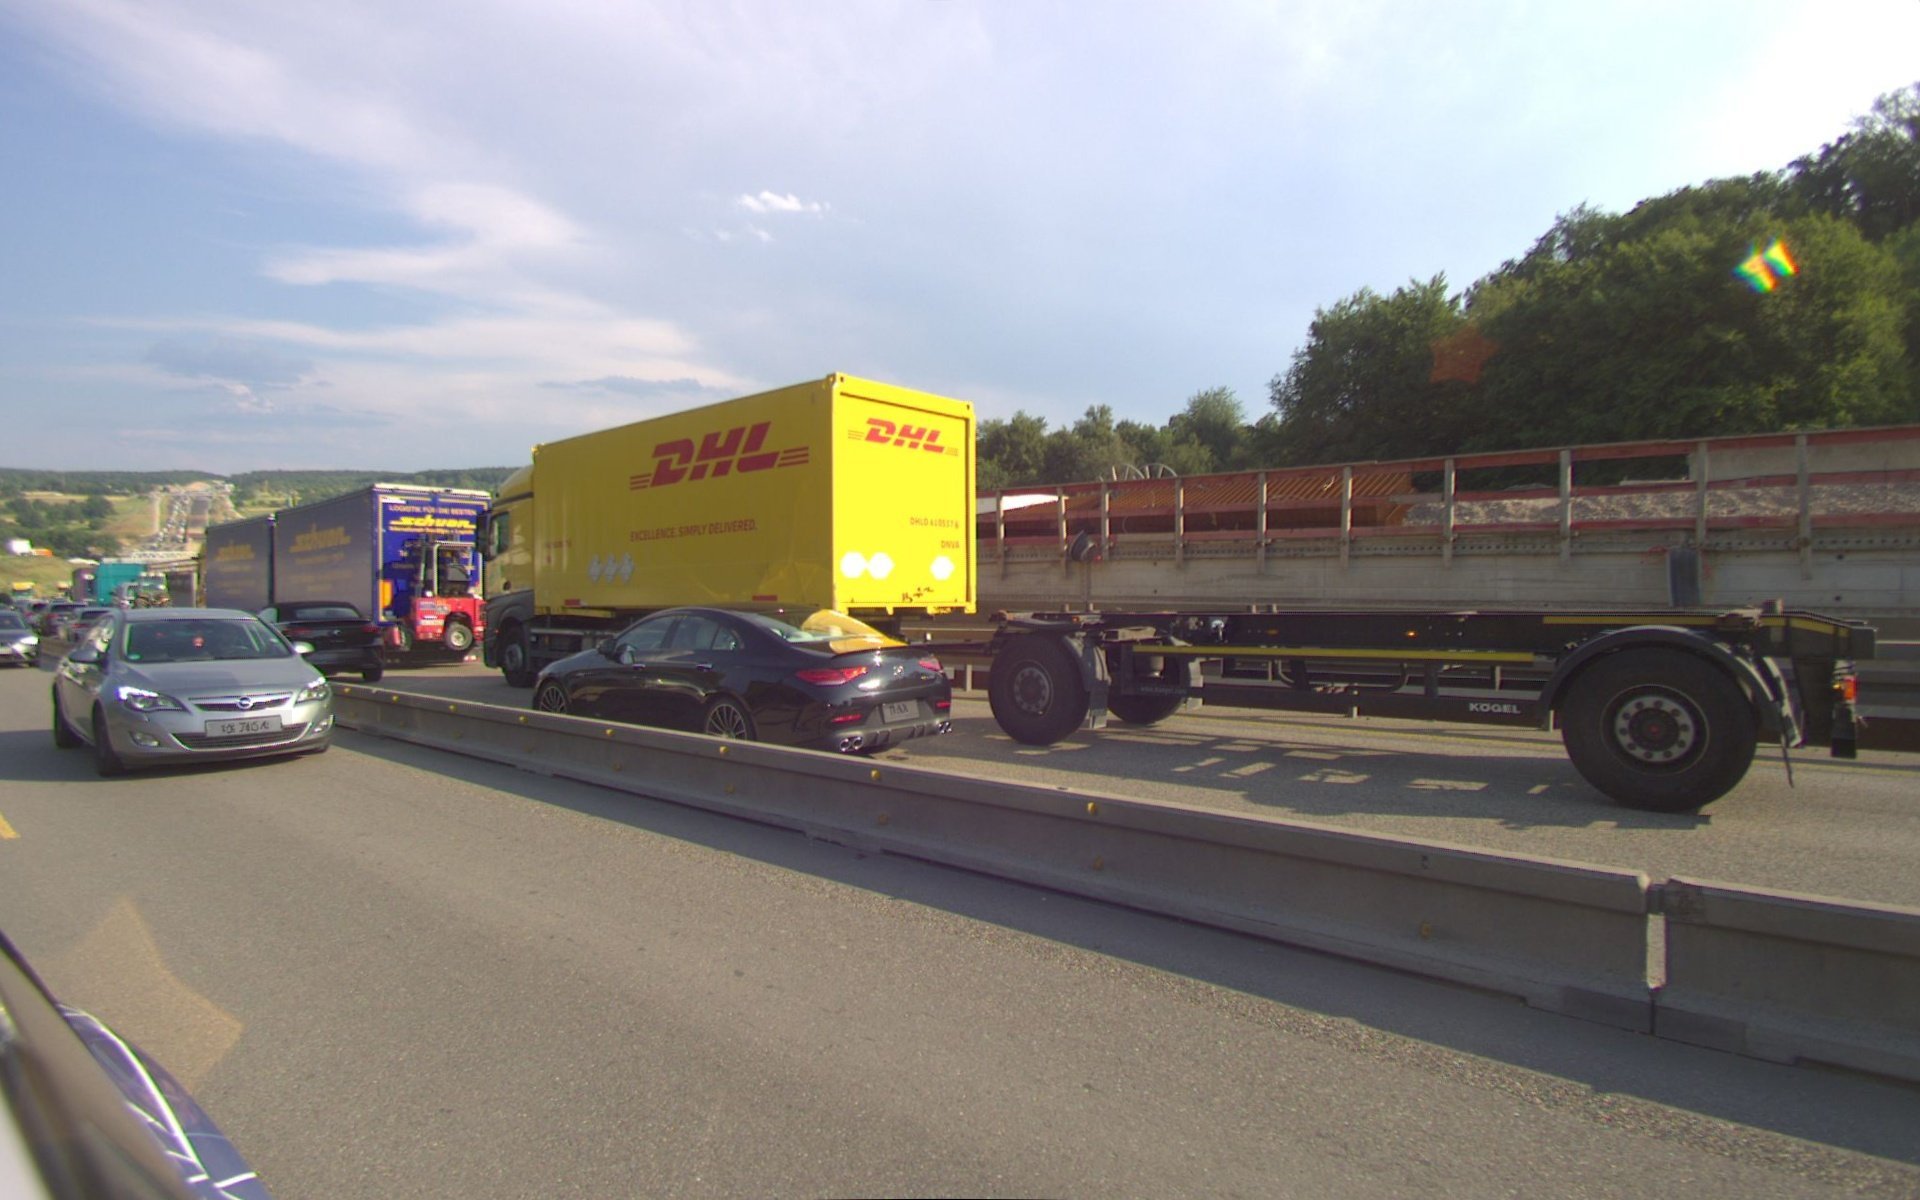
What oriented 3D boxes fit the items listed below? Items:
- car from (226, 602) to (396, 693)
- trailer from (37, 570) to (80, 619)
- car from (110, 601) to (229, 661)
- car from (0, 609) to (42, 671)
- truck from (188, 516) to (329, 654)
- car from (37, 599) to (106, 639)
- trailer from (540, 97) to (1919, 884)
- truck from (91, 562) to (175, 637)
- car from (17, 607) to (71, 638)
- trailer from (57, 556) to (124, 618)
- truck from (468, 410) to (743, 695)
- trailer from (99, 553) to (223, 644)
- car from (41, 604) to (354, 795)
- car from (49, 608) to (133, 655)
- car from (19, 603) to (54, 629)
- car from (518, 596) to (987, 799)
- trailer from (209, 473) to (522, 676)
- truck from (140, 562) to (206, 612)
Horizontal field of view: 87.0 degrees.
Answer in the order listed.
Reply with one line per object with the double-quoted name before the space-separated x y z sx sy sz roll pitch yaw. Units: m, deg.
"car" -12.461 0.817 19.318 4.291 1.519 1.698 1 0 43
"trailer" -86.082 -0.518 96.598 2.877 4.499 7.159 -1 1 -43
"car" -21.430 0.773 27.380 4.615 1.464 1.778 1 0 42
"car" -24.116 0.974 25.148 1.797 1.452 4.003 -2 1 -44
"truck" -23.323 -0.475 33.541 5.795 4.172 2.672 1 0 43
"car" -40.173 0.819 45.715 4.692 1.714 1.906 1 0 43
"trailer" 0.161 -0.651 11.746 15.993 4.235 2.672 1 0 42
"truck" -45.276 -0.015 55.335 7.115 3.834 2.718 0 -1 45
"car" -53.128 1.284 58.653 4.849 1.657 1.938 1 0 43
"trailer" -62.951 -0.822 73.140 2.683 4.154 12.500 2 -1 -45
"truck" -6.182 -0.715 17.457 4.397 4.228 2.665 1 0 41
"trailer" -39.211 -0.031 49.330 16.054 3.845 2.718 0 -1 45
"car" -7.659 0.787 10.020 4.118 1.498 1.786 0 0 43
"car" -30.809 1.055 35.822 4.725 1.509 1.769 1 0 43
"car" -74.212 1.253 81.291 5.133 1.948 1.802 1 -2 45
"car" -2.171 0.691 9.483 4.901 1.412 1.721 1 0 42
"trailer" -16.911 -0.579 27.542 16.753 4.166 2.685 1 0 43
"truck" -71.135 -1.065 91.362 3.122 4.154 12.500 2 -1 -45
